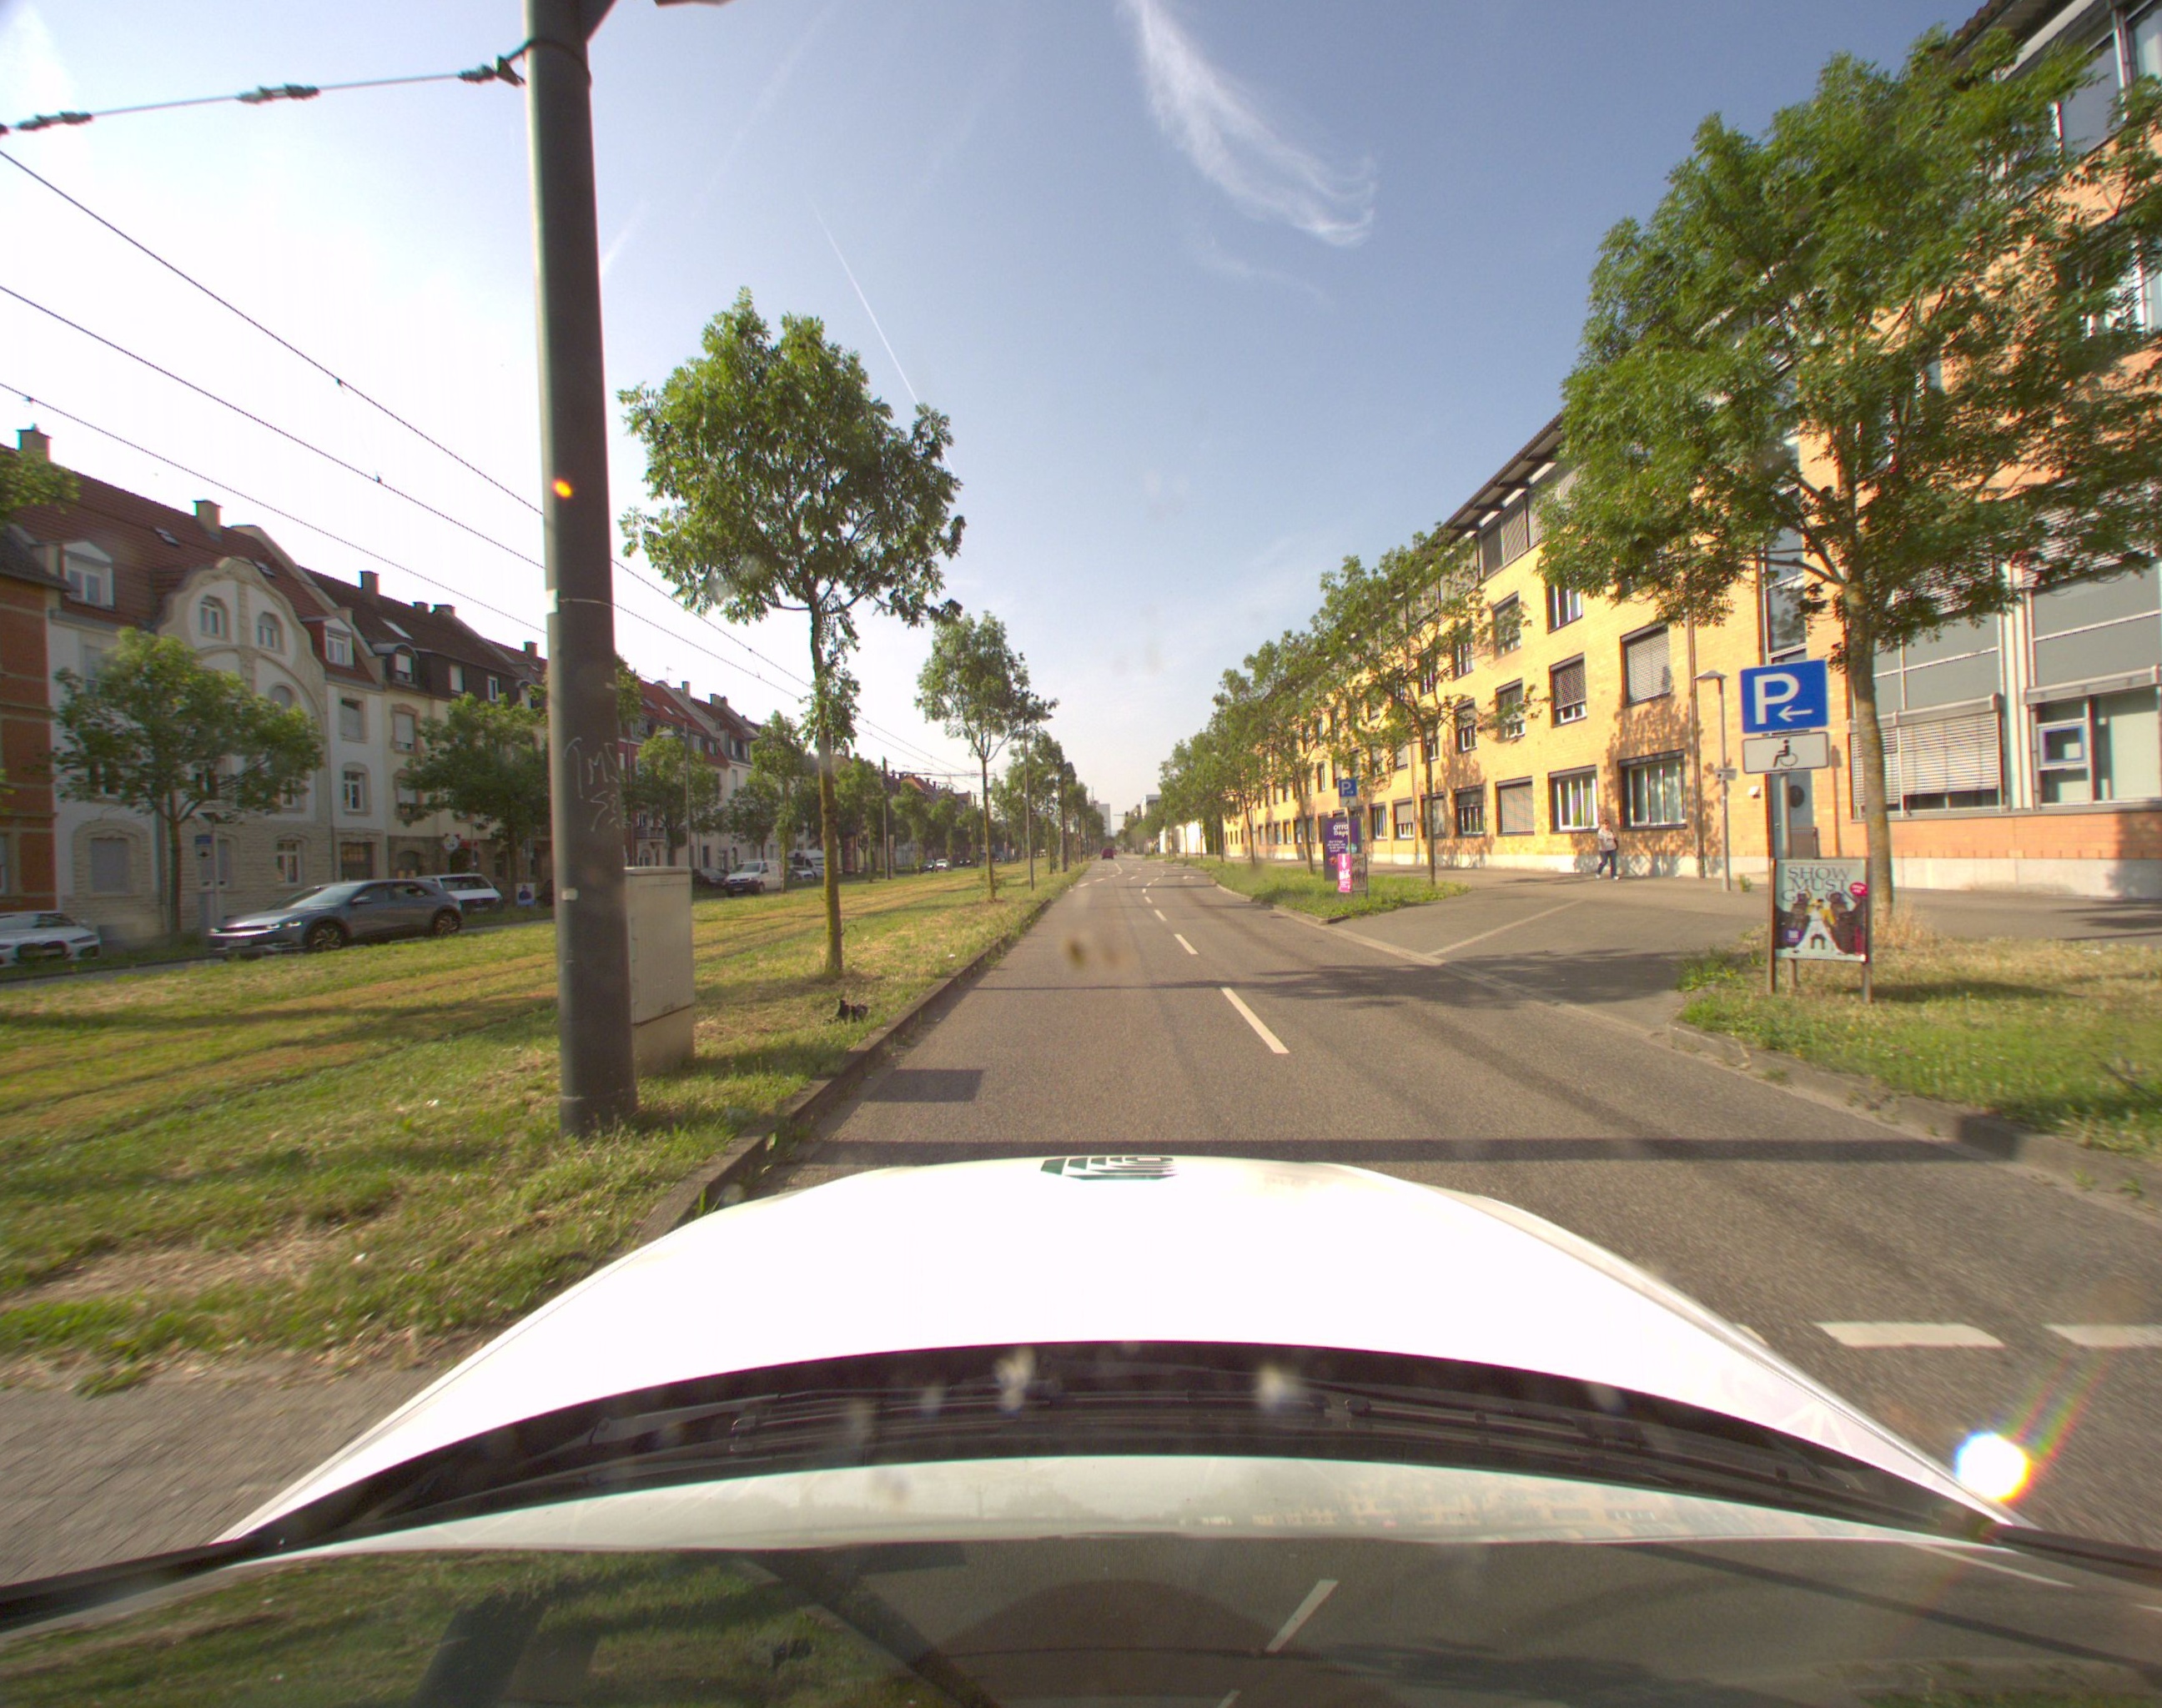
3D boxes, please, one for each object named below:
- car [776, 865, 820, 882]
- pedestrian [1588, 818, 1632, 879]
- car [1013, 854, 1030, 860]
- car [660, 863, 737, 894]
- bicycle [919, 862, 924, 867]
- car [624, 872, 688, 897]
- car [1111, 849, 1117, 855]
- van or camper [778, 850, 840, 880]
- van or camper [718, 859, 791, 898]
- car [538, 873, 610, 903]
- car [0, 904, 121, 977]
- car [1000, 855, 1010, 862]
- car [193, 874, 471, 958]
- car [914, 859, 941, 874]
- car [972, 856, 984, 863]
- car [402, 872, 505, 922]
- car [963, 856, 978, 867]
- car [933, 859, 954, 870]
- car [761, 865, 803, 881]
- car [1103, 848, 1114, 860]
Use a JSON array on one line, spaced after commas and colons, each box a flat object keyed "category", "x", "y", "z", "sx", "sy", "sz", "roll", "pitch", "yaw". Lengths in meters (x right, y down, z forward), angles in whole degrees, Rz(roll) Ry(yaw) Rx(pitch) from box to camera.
[{"category": "car", "x": -23.684, "y": 1.622, "z": 68.092, "sx": 3.639, "sy": 1.331, "sz": 1.673, "roll": 0, "pitch": -1, "yaw": 36}, {"category": "pedestrian", "x": 14.498, "y": -0.141, "z": 22.339, "sx": 0.693, "sy": 1.656, "sz": 0.773, "roll": 0, "pitch": -1, "yaw": 1}, {"category": "car", "x": -18.418, "y": 0.859, "z": 252.246, "sx": 5.258, "sy": 1.738, "sz": 2.013, "roll": 0, "pitch": -1, "yaw": 35}, {"category": "car", "x": -24.218, "y": 1.551, "z": 51.493, "sx": 4.590, "sy": 1.742, "sz": 1.845, "roll": -3, "pitch": 0, "yaw": 26}, {"category": "bicycle", "x": -26.424, "y": 1.695, "z": 134.691, "sx": 0.436, "sy": 0.789, "sz": 1.947, "roll": 0, "pitch": 0, "yaw": 0}, {"category": "car", "x": -23.290, "y": 1.648, "z": 44.619, "sx": 3.639, "sy": 1.241, "sz": 1.673, "roll": 0, "pitch": -1, "yaw": 36}, {"category": "car", "x": 9.052, "y": -0.646, "z": 222.930, "sx": 1.741, "sy": 1.650, "sz": 3.217, "roll": 0, "pitch": 0, "yaw": 2}, {"category": "van or camper", "x": -23.909, "y": 0.974, "z": 71.495, "sx": 5.849, "sy": 2.573, "sz": 2.213, "roll": 0, "pitch": -1, "yaw": 36}, {"category": "van or camper", "x": -18.505, "y": 1.336, "z": 46.437, "sx": 1.944, "sy": 2.097, "sz": 5.353, "roll": 0, "pitch": 0, "yaw": 1}, {"category": "car", "x": -23.851, "y": 1.579, "z": 38.272, "sx": 3.639, "sy": 1.241, "sz": 1.536, "roll": -1, "pitch": 2, "yaw": 35}, {"category": "car", "x": -24.878, "y": 2.012, "z": 19.384, "sx": 4.715, "sy": 1.485, "sz": 2.036, "roll": -3, "pitch": -2, "yaw": 33}, {"category": "car", "x": -15.913, "y": 1.014, "z": 170.674, "sx": 1.806, "sy": 1.433, "sz": 3.926, "roll": 0, "pitch": 0, "yaw": 1}, {"category": "car", "x": -16.217, "y": 1.259, "z": 18.062, "sx": 1.827, "sy": 1.533, "sz": 4.578, "roll": 0, "pitch": 0, "yaw": 1}, {"category": "car", "x": -17.491, "y": 1.414, "z": 93.309, "sx": 1.987, "sy": 1.630, "sz": 5.380, "roll": 0, "pitch": 0, "yaw": 1}, {"category": "car", "x": -22.014, "y": 1.177, "z": 174.680, "sx": 1.987, "sy": 1.628, "sz": 4.774, "roll": 0, "pitch": 0, "yaw": 0}, {"category": "car", "x": -24.538, "y": 1.616, "z": 31.805, "sx": 4.888, "sy": 1.726, "sz": 1.869, "roll": 0, "pitch": -1, "yaw": 36}, {"category": "car", "x": -18.241, "y": 1.249, "z": 134.676, "sx": 1.758, "sy": 1.655, "sz": 4.001, "roll": 0, "pitch": 0, "yaw": 1}, {"category": "car", "x": -18.381, "y": 1.393, "z": 109.081, "sx": 1.941, "sy": 1.459, "sz": 4.647, "roll": 0, "pitch": 0, "yaw": 0}, {"category": "car", "x": -23.944, "y": 1.517, "z": 65.240, "sx": 3.640, "sy": 1.241, "sz": 1.672, "roll": -1, "pitch": -1, "yaw": 43}, {"category": "car", "x": 4.531, "y": -0.002, "z": 134.178, "sx": 1.741, "sy": 2.014, "sz": 3.217, "roll": 0, "pitch": 0, "yaw": 2}]
